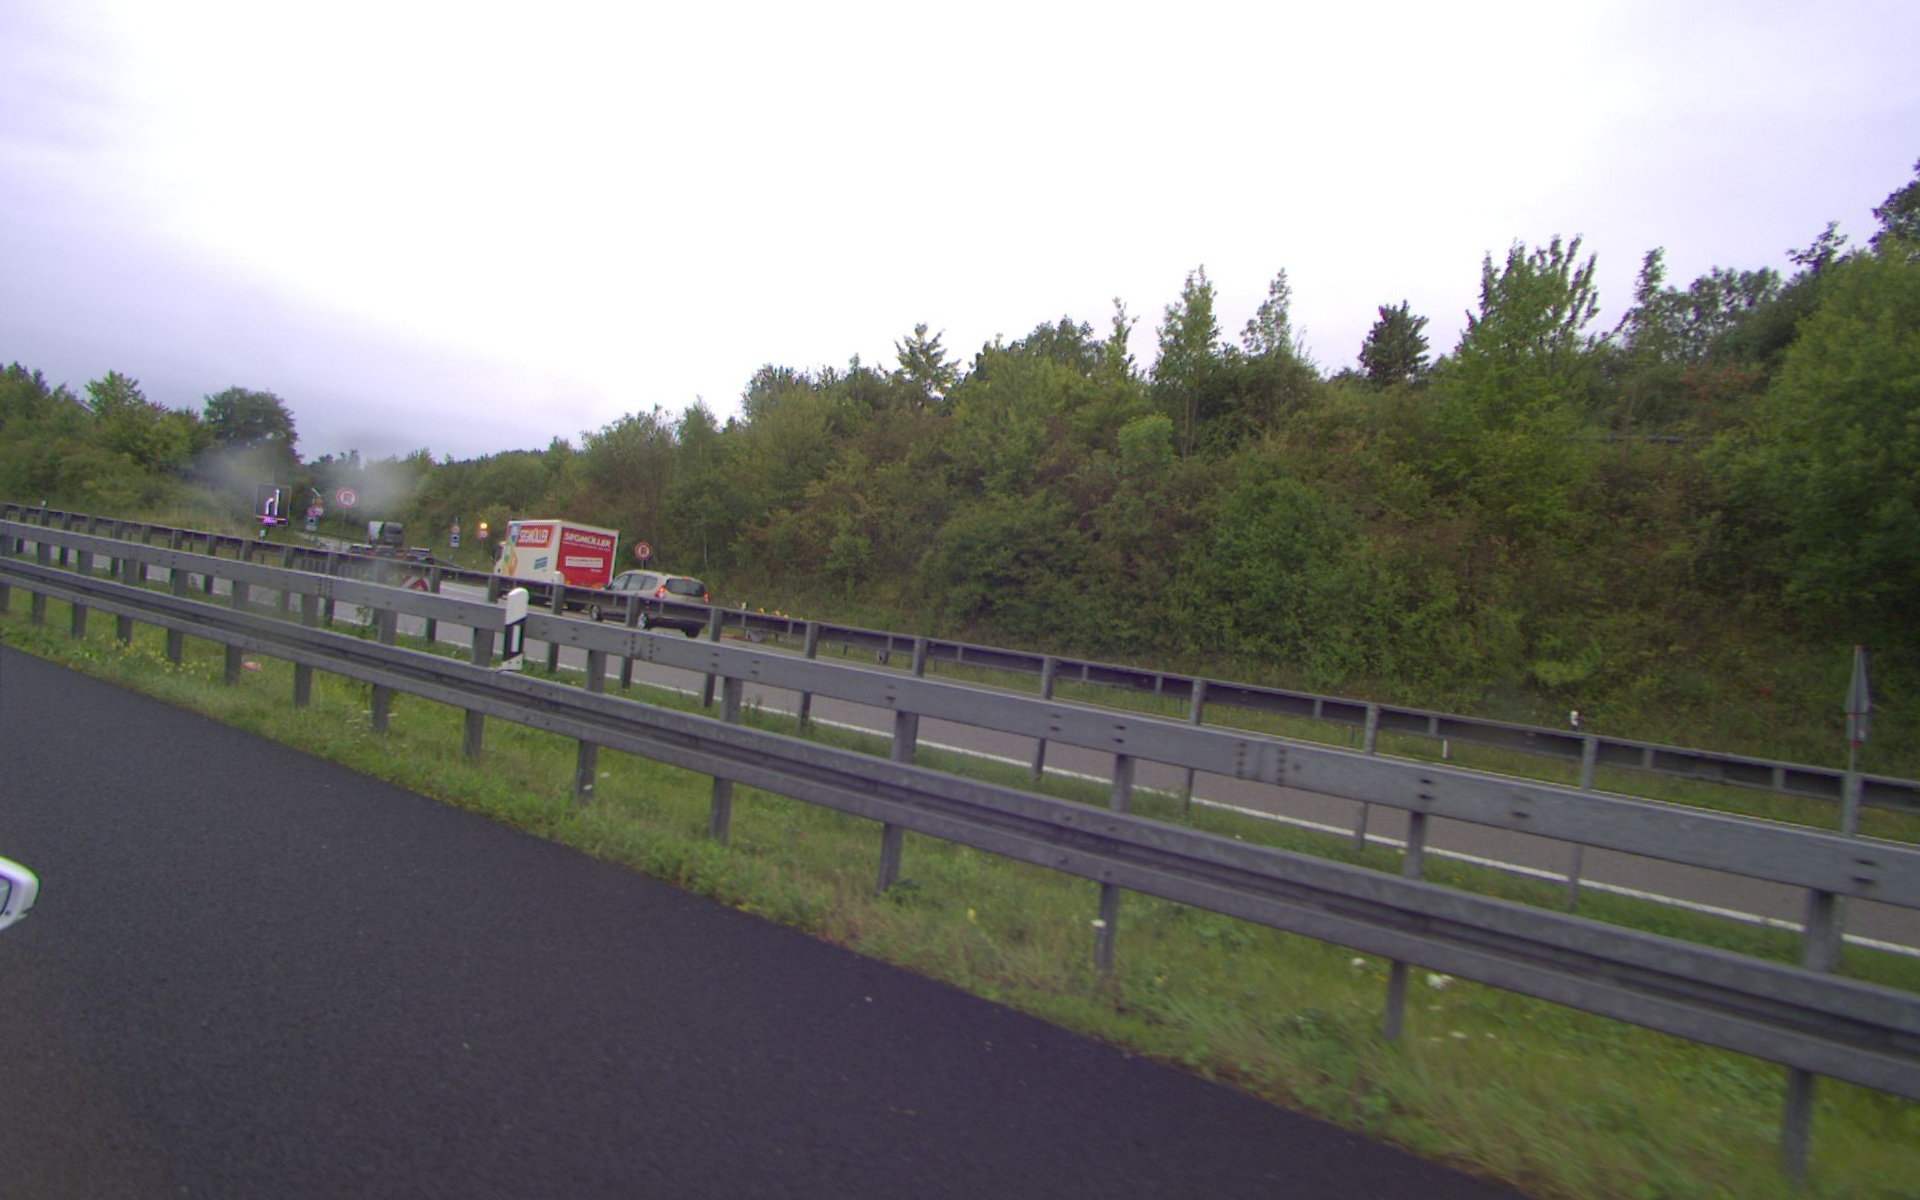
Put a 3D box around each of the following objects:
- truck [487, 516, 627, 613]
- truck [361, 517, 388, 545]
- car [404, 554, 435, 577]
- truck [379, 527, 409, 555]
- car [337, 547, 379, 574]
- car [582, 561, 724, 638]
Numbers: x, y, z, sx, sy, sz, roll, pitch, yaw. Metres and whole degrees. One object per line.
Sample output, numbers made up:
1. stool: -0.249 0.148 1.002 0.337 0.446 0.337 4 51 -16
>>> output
1. truck: -17.464 -1.611 43.165 2.886 3.435 8.880 7 -1 -38
2. truck: -69.700 -8.130 119.853 2.227 2.913 8.114 7 -1 -29
3. car: -41.935 -2.715 77.971 1.846 1.464 4.125 7 -1 -31
4. truck: -63.169 -6.563 112.363 2.420 2.737 5.529 7 -1 -28
5. car: -41.783 -2.759 69.781 1.852 1.464 4.112 8 -1 -40
6. car: -8.711 -0.047 28.356 1.855 1.678 4.416 8 -1 -45
